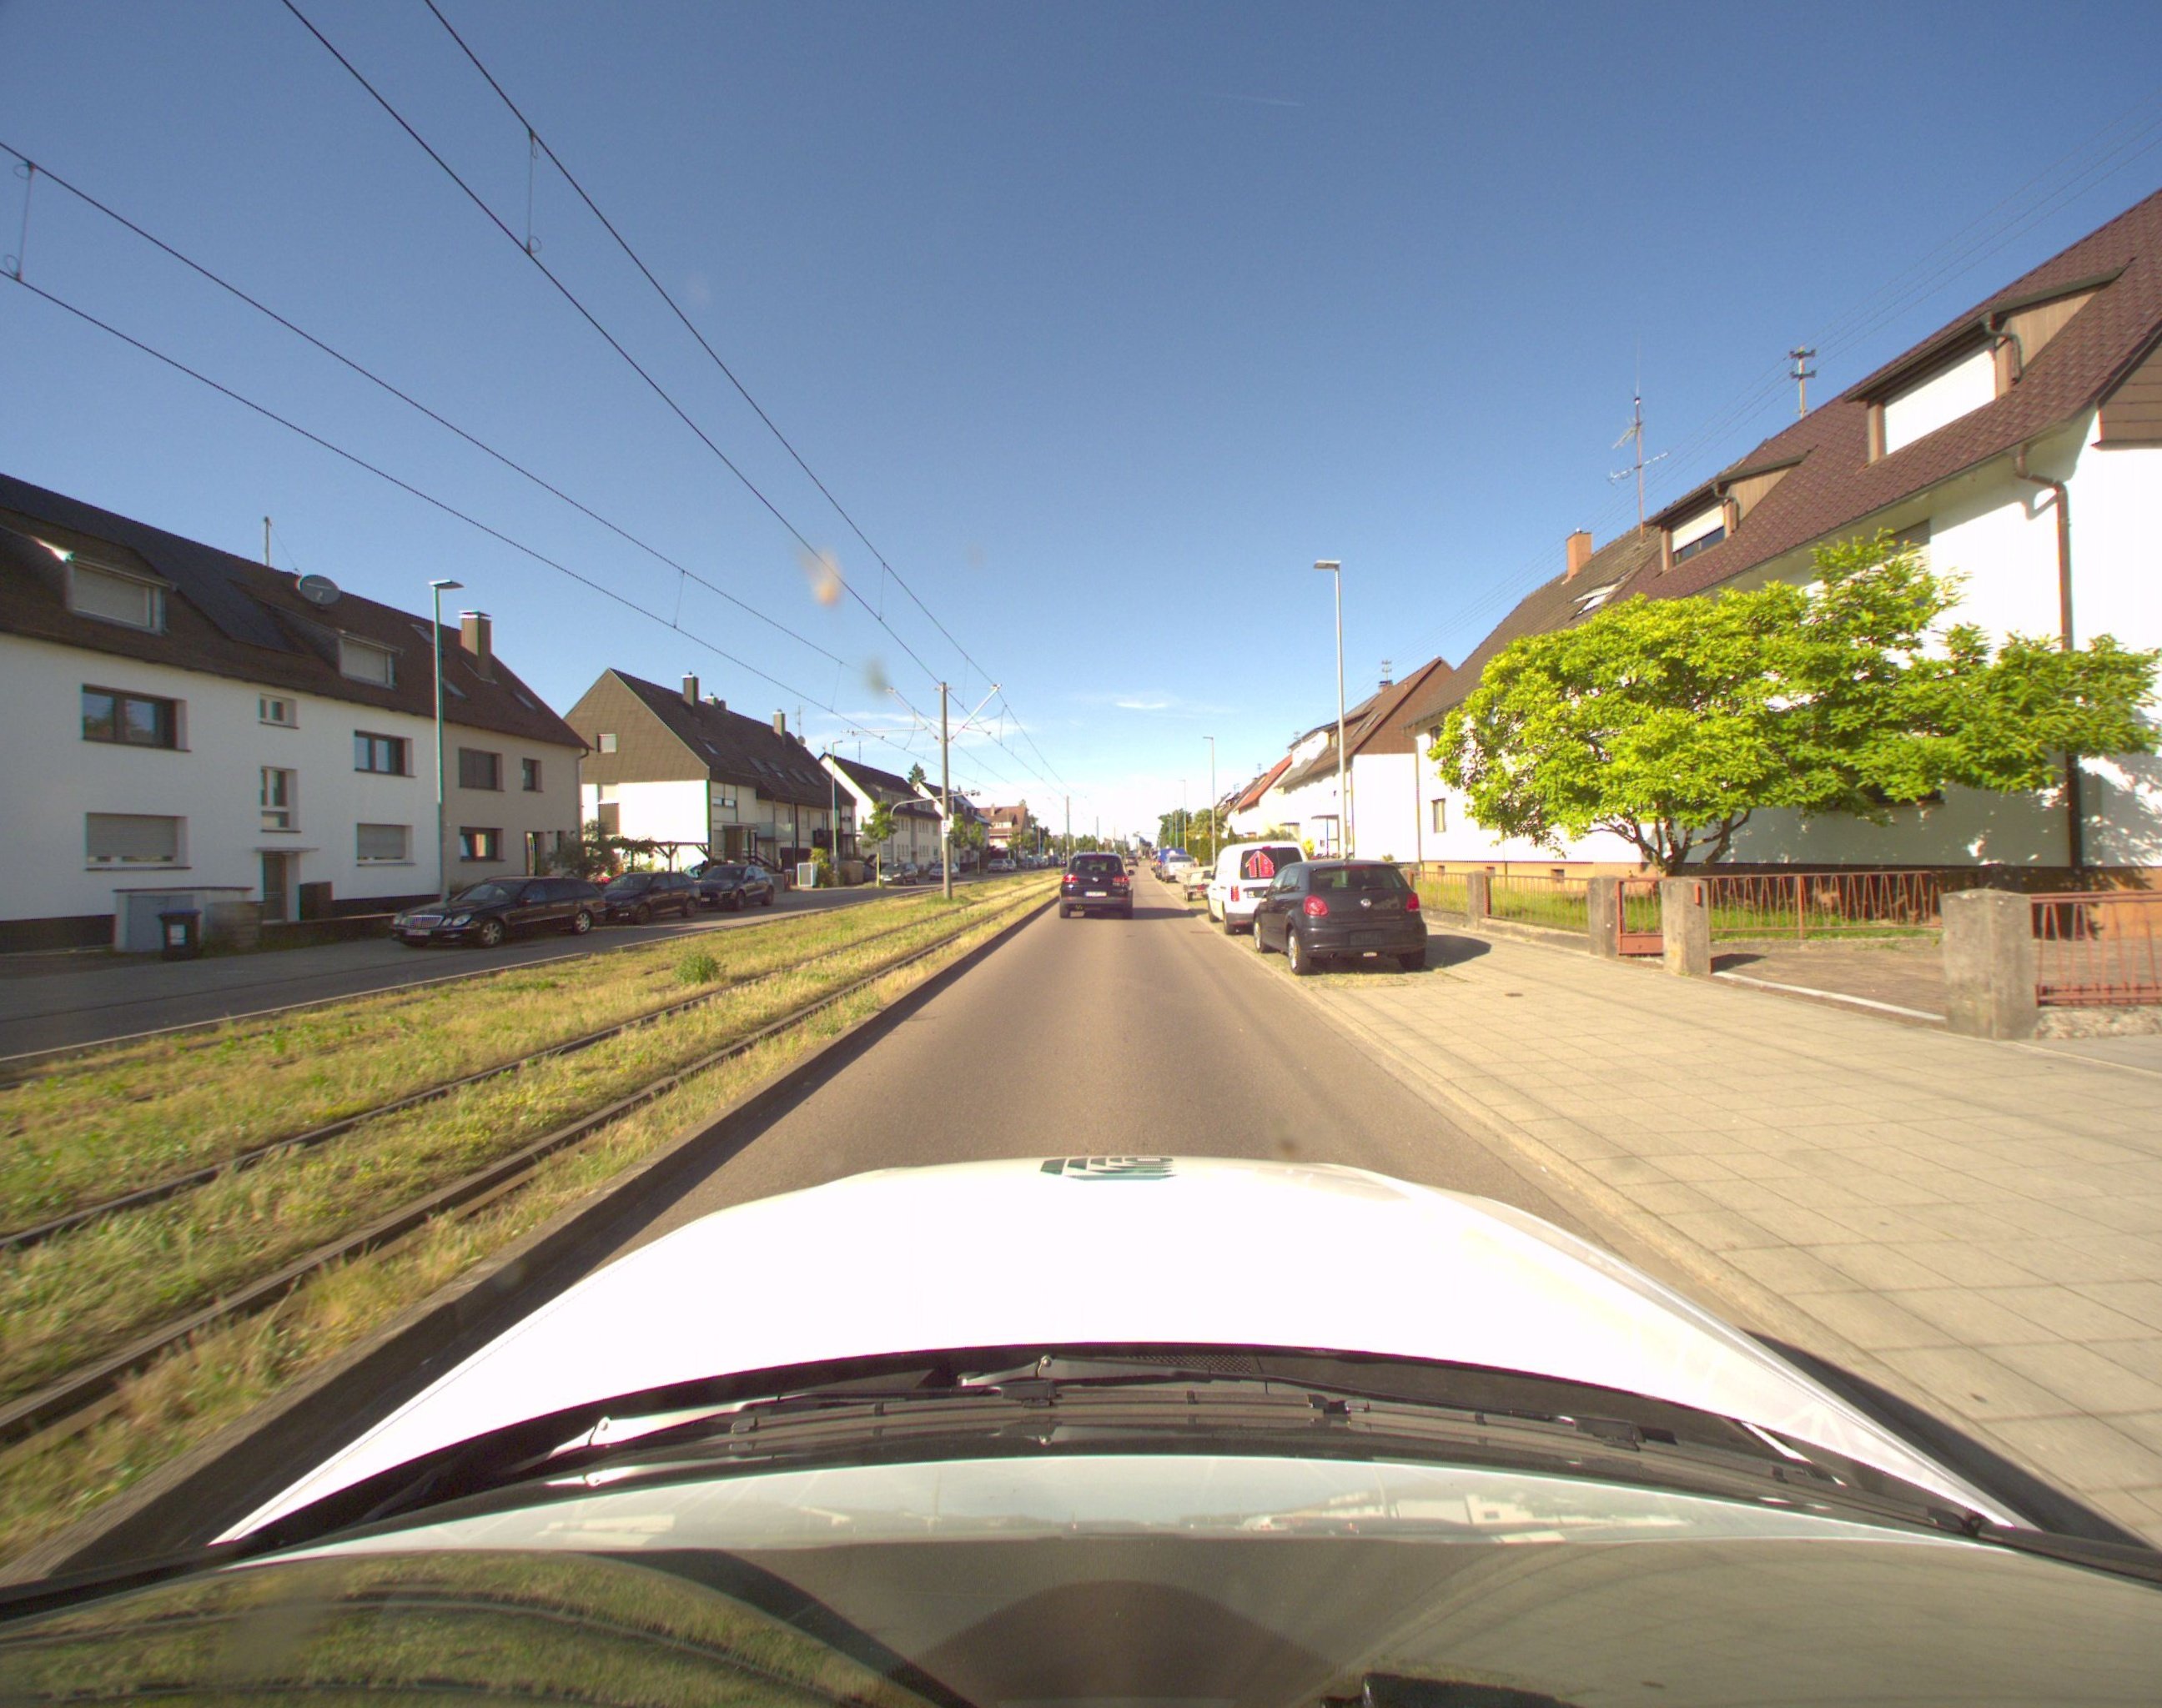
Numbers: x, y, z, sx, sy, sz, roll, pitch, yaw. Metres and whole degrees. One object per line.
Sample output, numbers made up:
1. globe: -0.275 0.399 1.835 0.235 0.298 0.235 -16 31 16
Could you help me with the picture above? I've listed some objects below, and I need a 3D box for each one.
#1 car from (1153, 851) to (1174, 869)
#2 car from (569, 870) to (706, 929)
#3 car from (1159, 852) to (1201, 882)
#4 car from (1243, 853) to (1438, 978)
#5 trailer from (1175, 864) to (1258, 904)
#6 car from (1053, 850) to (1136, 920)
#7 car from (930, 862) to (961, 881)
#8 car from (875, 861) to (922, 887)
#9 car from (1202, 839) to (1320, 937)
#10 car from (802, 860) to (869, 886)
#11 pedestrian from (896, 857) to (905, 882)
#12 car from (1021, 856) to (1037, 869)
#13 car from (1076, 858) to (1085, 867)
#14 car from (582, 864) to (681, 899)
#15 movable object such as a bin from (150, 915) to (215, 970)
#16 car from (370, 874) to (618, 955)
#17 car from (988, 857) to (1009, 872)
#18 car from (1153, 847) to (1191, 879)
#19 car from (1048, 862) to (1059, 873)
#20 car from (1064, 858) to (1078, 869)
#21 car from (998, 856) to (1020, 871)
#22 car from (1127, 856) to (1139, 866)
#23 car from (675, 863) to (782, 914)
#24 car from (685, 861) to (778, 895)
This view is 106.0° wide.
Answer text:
1. car: 7.369 0.557 72.725 1.638 1.534 3.867 -2 0 3
2. car: -12.908 1.270 24.003 1.514 1.475 4.204 -1 0 3
3. car: 5.368 0.682 44.528 1.780 1.441 4.460 -3 0 1
4. car: 3.540 0.763 11.907 1.664 1.453 4.128 -2 -1 2
5. trailer: 4.496 0.961 27.759 2.196 1.094 4.373 -3 0 2
6. car: 0.259 0.759 21.660 1.809 1.671 4.250 0 -1 -5
7. car: -10.567 1.395 63.672 1.612 1.409 3.720 -2 -2 3
8. car: -11.365 1.223 50.940 1.610 1.453 3.725 -2 0 7
9. car: 3.679 0.627 17.432 1.683 1.776 4.659 -2 0 3
10. car: -16.330 1.271 54.307 3.895 1.568 1.732 -2 0 -5
11. pedestrian: -12.689 1.078 57.299 0.466 1.746 0.536 -2 0 2
12. car: -6.920 1.104 108.874 1.653 1.581 4.003 -2 -2 3
13. car: -0.100 1.502 143.441 1.459 1.454 3.289 -2 -1 3
14. car: -23.651 1.443 42.929 4.138 1.654 1.860 -2 0 5
15. movable object such as a bin: -16.358 1.597 14.846 0.387 0.927 0.704 -2 -2 1
16. car: -13.177 1.276 18.775 1.868 1.523 4.887 -1 0 5
17. car: -8.738 1.126 86.781 1.652 1.496 3.582 -2 0 3
18. car: 5.627 0.526 50.894 1.985 1.862 4.921 -2 0 3
19. car: -4.457 2.178 131.819 1.459 1.677 3.289 -2 -1 3
20. car: -1.629 1.578 130.881 1.866 1.655 4.002 -2 -2 3
21. car: -8.192 1.061 92.928 1.796 1.632 4.003 -2 0 3
22. car: 7.029 0.942 110.401 1.566 1.391 3.617 -2 0 2
23. car: -12.617 1.182 29.522 1.797 1.597 4.810 -2 0 -1
24. car: -18.644 1.267 43.520 4.154 1.617 1.758 -2 0 -2
